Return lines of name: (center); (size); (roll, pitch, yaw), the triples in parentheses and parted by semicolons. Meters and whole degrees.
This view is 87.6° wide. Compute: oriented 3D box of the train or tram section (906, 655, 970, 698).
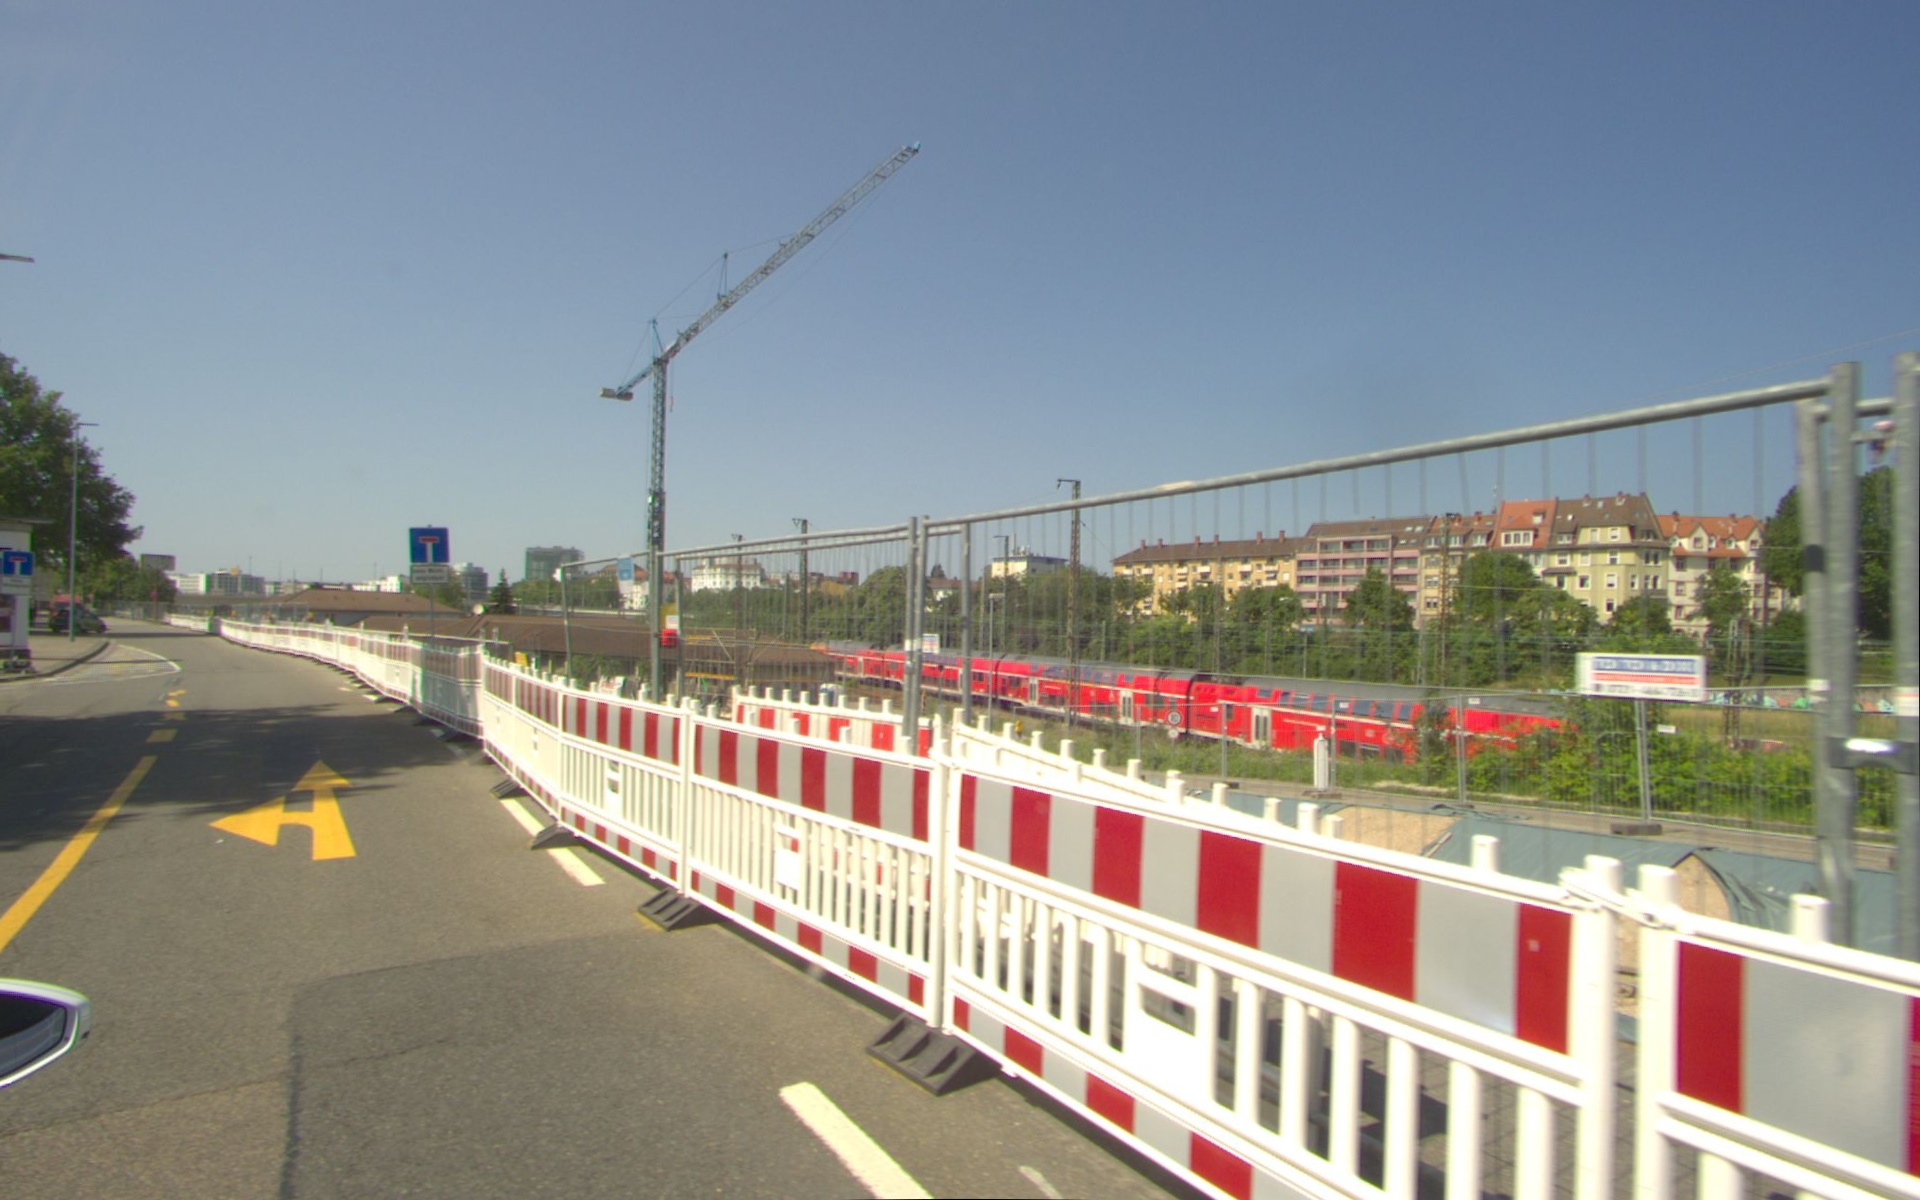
train or tram section: (-2.288, 7.494, 98.826); (2.978, 3.748, 8.944); (4, -4, -24)

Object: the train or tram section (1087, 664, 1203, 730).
train or tram section: (12.042, 6.301, 66.159); (2.977, 3.748, 8.947); (4, -4, -23)

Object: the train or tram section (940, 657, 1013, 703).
train or tram section: (1.344, 7.173, 90.683); (2.978, 3.748, 8.944); (4, -4, -24)

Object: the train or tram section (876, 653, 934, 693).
train or tram section: (-5.985, 7.732, 106.961); (2.979, 3.748, 8.942); (4, -4, -25)

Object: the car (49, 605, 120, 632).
car: (-59.471, 1.276, 68.070); (1.693, 1.658, 3.282); (1, -3, 11)

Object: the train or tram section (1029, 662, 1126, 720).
train or tram section: (8.558, 6.640, 74.357); (2.977, 3.748, 8.947); (4, -4, -23)

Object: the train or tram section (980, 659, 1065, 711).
train or tram section: (4.998, 6.918, 82.502); (2.978, 3.748, 8.944); (4, -4, -24)

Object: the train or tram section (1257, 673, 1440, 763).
train or tram section: (18.986, 5.685, 49.706); (2.977, 3.759, 8.947); (4, -4, -23)

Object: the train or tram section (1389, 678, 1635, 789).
train or tram section: (22.487, 5.358, 41.552); (2.977, 3.746, 8.946); (4, -4, -23)

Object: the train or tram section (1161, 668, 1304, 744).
train or tram section: (15.536, 6.007, 57.951); (2.977, 3.756, 8.947); (4, -4, -23)

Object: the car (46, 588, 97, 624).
car: (-69.178, 0.523, 78.039); (2.517, 2.551, 5.079); (3, -3, -38)
